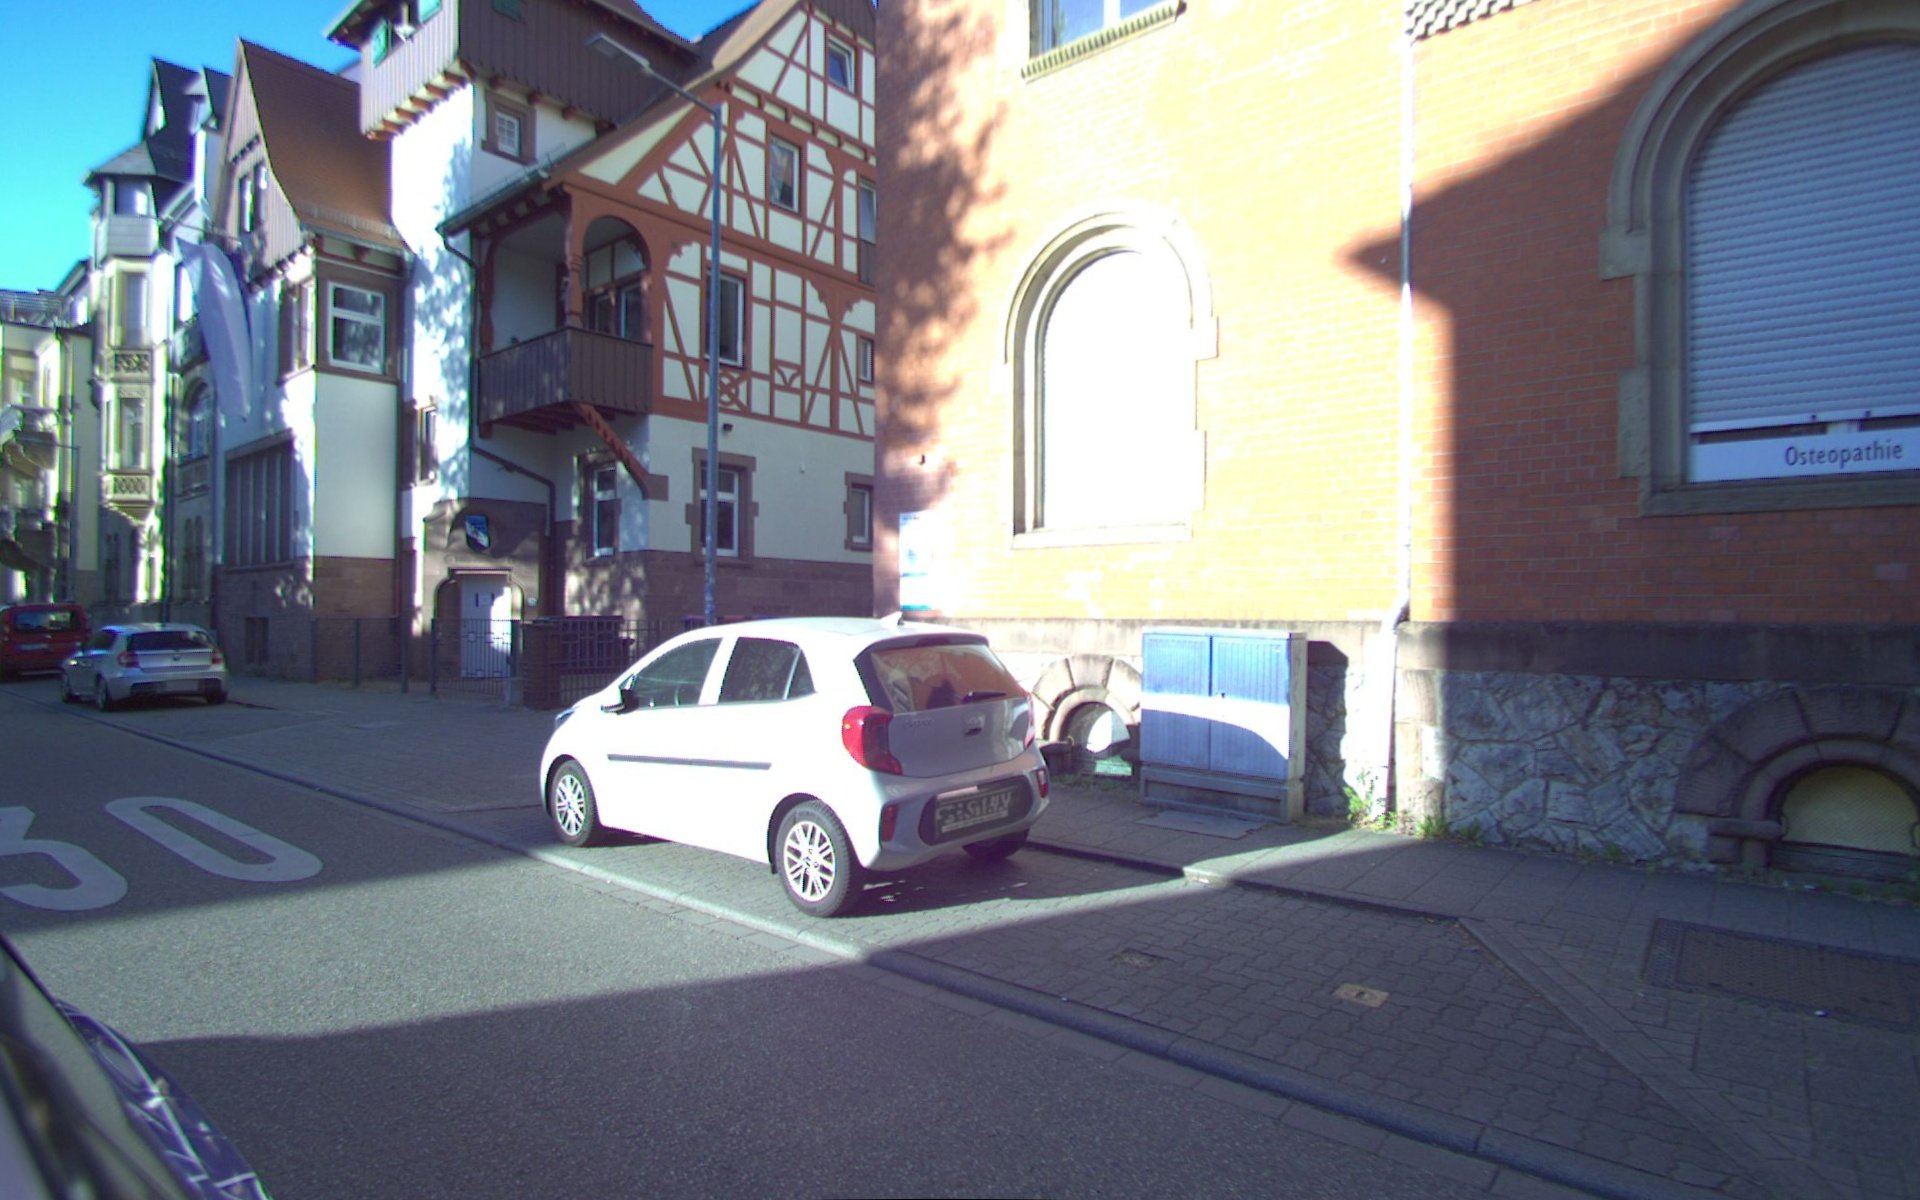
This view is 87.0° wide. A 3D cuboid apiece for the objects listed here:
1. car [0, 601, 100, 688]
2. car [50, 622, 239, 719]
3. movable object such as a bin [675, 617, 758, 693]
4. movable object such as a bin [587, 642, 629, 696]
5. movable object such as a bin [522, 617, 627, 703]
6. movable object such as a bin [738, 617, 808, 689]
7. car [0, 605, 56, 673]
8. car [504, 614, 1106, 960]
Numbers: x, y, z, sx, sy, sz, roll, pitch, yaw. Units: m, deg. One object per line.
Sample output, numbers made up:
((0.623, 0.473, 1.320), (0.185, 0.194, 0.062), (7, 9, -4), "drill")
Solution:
((-22.714, 1.021, 24.843), (4.322, 1.921, 1.780), (-1, 0, 41), "car")
((-14.319, 1.139, 17.693), (4.098, 1.477, 1.727), (-1, -1, 39), "car")
((-4.414, 0.973, 18.398), (0.685, 1.327, 1.369), (-1, -1, 33), "movable object such as a bin")
((-6.015, 1.164, 17.292), (0.474, 0.885, 0.674), (1, -1, -40), "movable object such as a bin")
((-6.239, 0.936, 16.390), (1.359, 1.309, 0.970), (1, -1, -40), "movable object such as a bin")
((-3.559, 0.984, 19.336), (0.630, 1.320, 1.188), (-1, -1, 42), "movable object such as a bin")
((-27.813, 1.088, 29.392), (4.539, 1.866, 1.751), (-1, -1, 41), "car")
((-1.154, 0.860, 6.391), (3.795, 1.497, 1.687), (-1, 0, 41), "car")
